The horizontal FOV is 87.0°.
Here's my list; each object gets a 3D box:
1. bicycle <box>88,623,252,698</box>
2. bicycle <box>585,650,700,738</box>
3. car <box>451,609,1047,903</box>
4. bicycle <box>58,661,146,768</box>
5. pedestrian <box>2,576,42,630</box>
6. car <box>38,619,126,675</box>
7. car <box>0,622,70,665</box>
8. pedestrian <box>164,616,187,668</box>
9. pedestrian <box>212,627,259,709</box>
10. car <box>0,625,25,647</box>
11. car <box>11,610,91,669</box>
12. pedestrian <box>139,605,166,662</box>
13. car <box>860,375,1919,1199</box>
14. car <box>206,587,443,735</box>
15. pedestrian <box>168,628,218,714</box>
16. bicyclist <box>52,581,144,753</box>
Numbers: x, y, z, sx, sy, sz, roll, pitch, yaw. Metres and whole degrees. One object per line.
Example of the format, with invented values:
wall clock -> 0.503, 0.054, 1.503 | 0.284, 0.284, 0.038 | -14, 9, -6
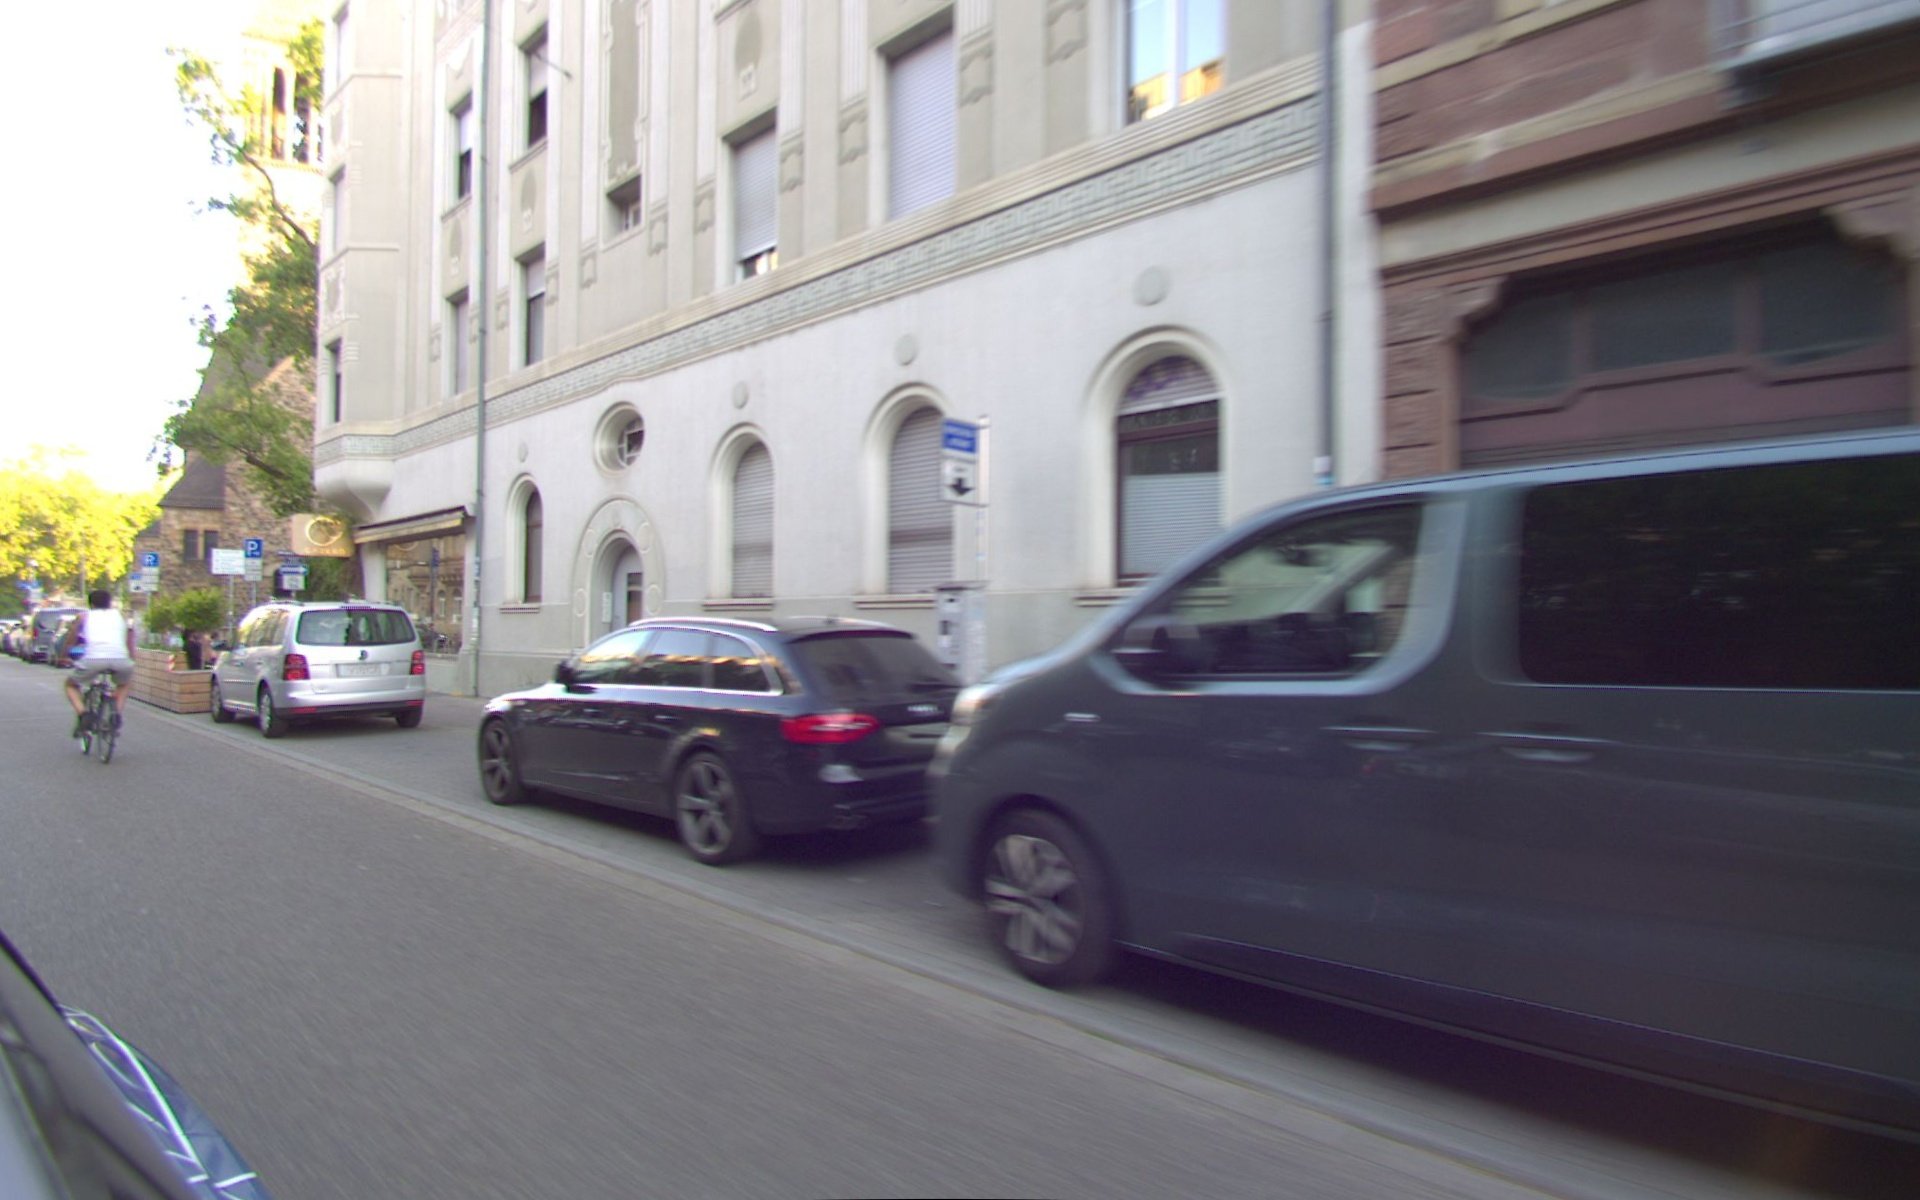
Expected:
bicycle -> -15.980, 1.196, 20.572 | 2.580, 1.409, 0.603 | 0, 0, -34
bicycle -> -3.963, 1.128, 12.548 | 1.895, 0.951, 0.471 | -1, 0, 42
car -> -1.736, 0.821, 7.207 | 4.480, 1.441, 1.906 | -1, -2, 42
bicycle -> -9.098, 1.168, 10.703 | 1.895, 0.951, 0.471 | -1, 0, 42
pedestrian -> -48.814, 0.140, 52.662 | 1.012, 2.761, 1.426 | -1, -1, 42
car -> -27.172, 1.403, 31.293 | 4.002, 1.558, 1.761 | -1, 0, 45
car -> -36.264, 1.654, 39.589 | 3.999, 1.558, 1.762 | -1, 0, 42
pedestrian -> -24.722, 1.316, 31.886 | 0.562, 1.618, 0.501 | -1, -1, 42
pedestrian -> -12.272, 1.133, 17.144 | 0.496, 1.333, 0.564 | -1, -1, 42
car -> -77.201, 2.777, 80.254 | 4.012, 1.711, 1.683 | 3, -3, -18
car -> -31.004, 1.274, 34.488 | 4.459, 1.885, 1.761 | -1, 0, 45
pedestrian -> -24.972, 1.021, 31.297 | 0.562, 1.746, 0.558 | -1, -1, 42
car -> 2.009, 0.500, 3.450 | 4.904, 1.897, 1.906 | -1, -2, 42
car -> -8.460, 0.716, 13.337 | 3.917, 1.660, 1.707 | -1, -1, 43
pedestrian -> -12.345, 1.130, 16.294 | 0.496, 1.333, 0.564 | -1, -1, 42
bicyclist -> -9.055, 0.667, 10.628 | 1.003, 1.705, 0.616 | -1, -1, 42
